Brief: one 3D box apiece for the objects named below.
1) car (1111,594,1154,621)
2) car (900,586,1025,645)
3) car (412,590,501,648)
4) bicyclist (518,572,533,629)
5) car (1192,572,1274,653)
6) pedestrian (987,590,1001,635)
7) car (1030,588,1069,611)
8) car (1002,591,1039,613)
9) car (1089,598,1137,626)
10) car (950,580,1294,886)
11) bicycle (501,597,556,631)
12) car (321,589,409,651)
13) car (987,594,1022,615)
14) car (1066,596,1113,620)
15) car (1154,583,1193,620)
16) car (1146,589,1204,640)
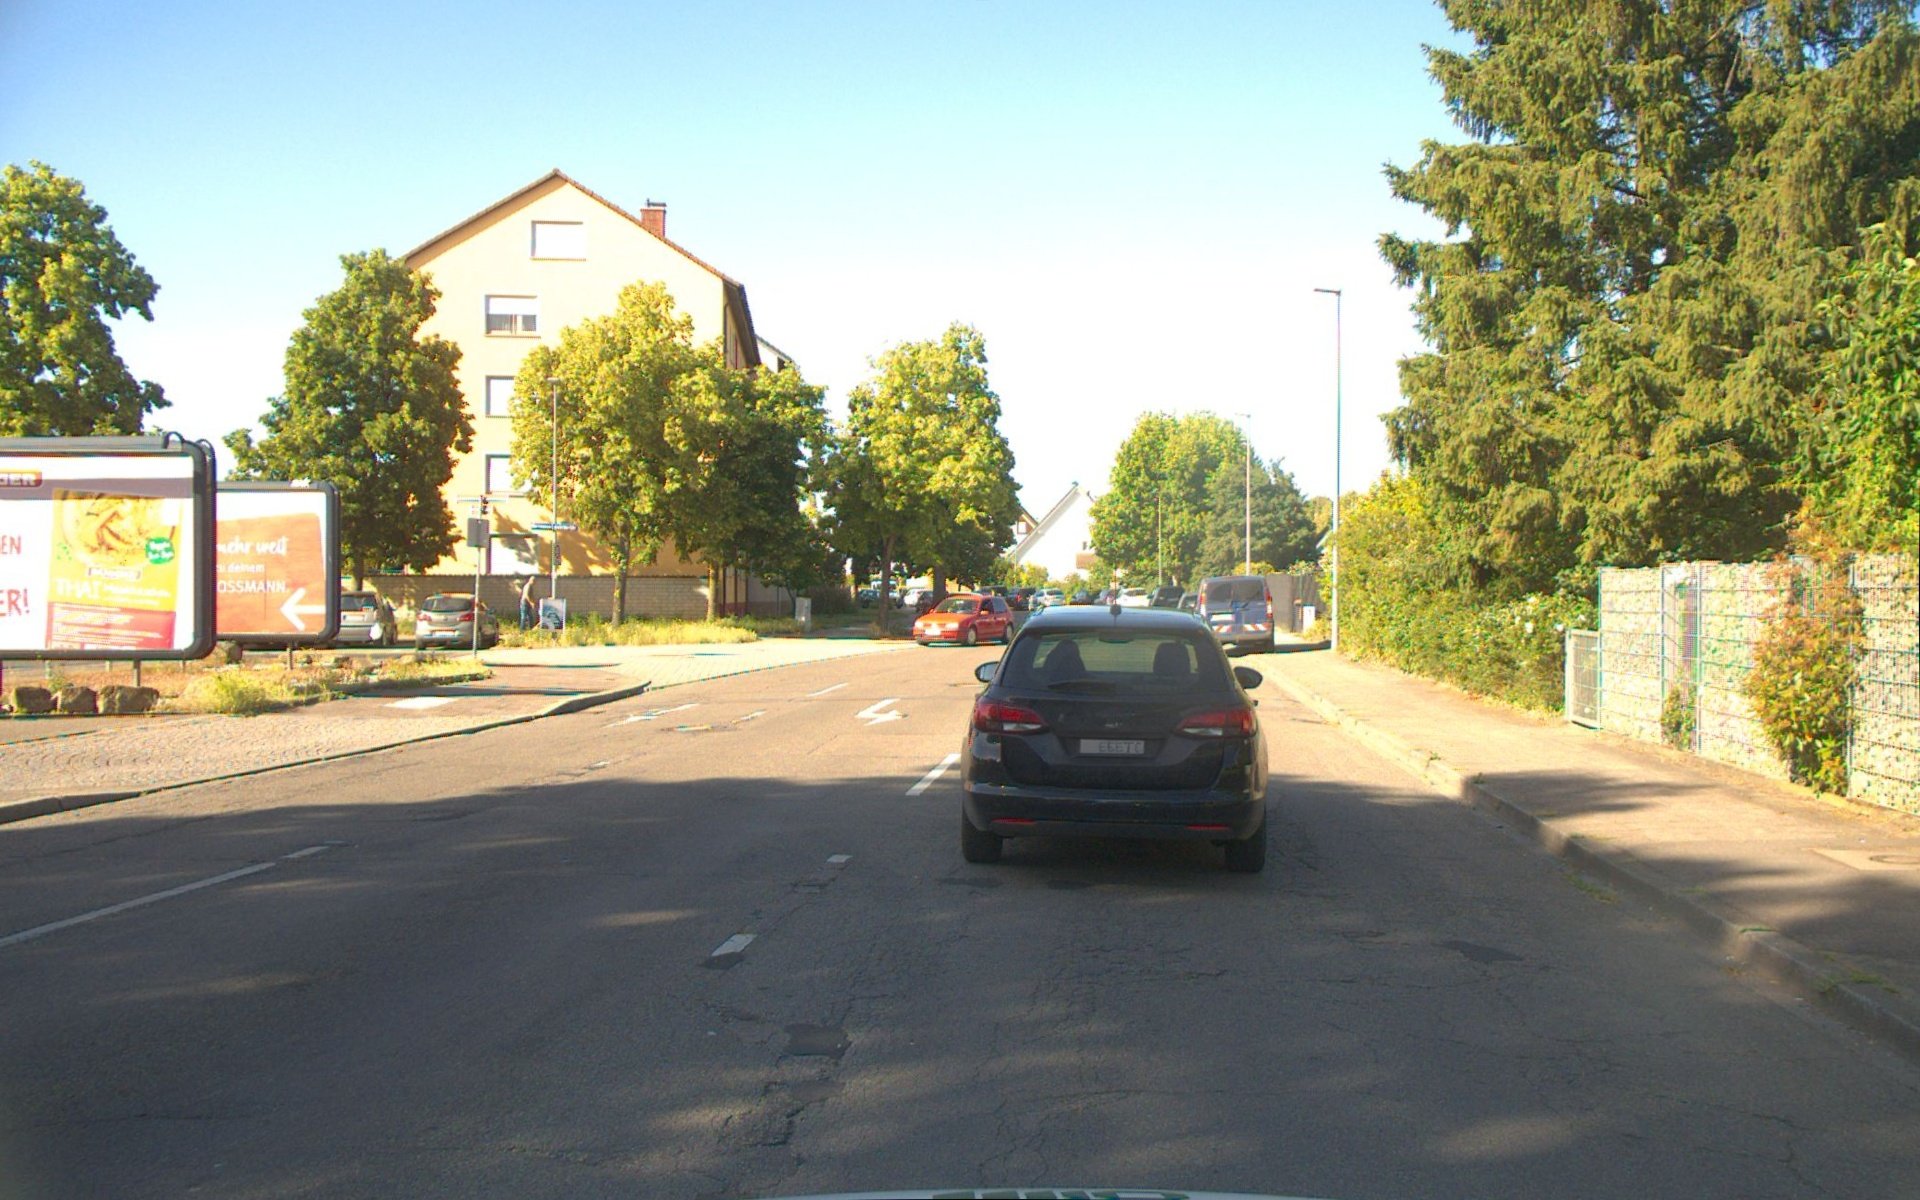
[{"bbox_3d":[9.966,0.442,95.643,1.726,1.506,4.290,-1,0,-4],"label":"car"},{"bbox_3d":[0.132,0.420,48.476,1.972,1.595,4.389,1,1,26],"label":"car"},{"bbox_3d":[-13.958,0.503,46.054,1.696,1.489,3.876,0,1,-7],"label":"car"},{"bbox_3d":[-13.180,0.032,50.208,0.383,1.715,0.379,0,-2,-26],"label":"bicyclist"},{"bbox_3d":[6.875,0.281,42.066,1.797,1.941,4.701,0,0,6],"label":"car"},{"bbox_3d":[1.359,0.508,66.168,0.494,1.792,0.695,-1,-2,2],"label":"pedestrian"},{"bbox_3d":[6.204,0.005,115.156,1.787,1.561,4.247,-1,0,-11],"label":"car"},{"bbox_3d":[4.351,0.186,120.420,1.787,1.561,4.247,-1,0,-11],"label":"car"},{"bbox_3d":[9.257,0.719,100.384,1.876,1.628,4.285,-1,0,-9],"label":"car"},{"bbox_3d":[1.016,0.682,10.572,1.724,1.517,4.293,1,0,5],"label":"car"},{"bbox_3d":[-13.097,0.419,50.228,1.597,1.029,0.403,0,-2,-26],"label":"bicycle"},{"bbox_3d":[-16.826,0.526,46.943,1.666,1.650,3.873,0,1,-10],"label":"car"},{"bbox_3d":[3.348,0.361,125.852,1.787,1.561,4.247,-1,0,-11],"label":"car"},{"bbox_3d":[8.281,0.520,105.941,1.969,1.501,4.284,-1,0,-10],"label":"car"},{"bbox_3d":[10.255,0.077,79.771,1.740,1.754,4.297,-1,0,6],"label":"car"},{"bbox_3d":[6.854,0.429,53.035,1.728,1.506,4.995,-1,1,6],"label":"car"}]
